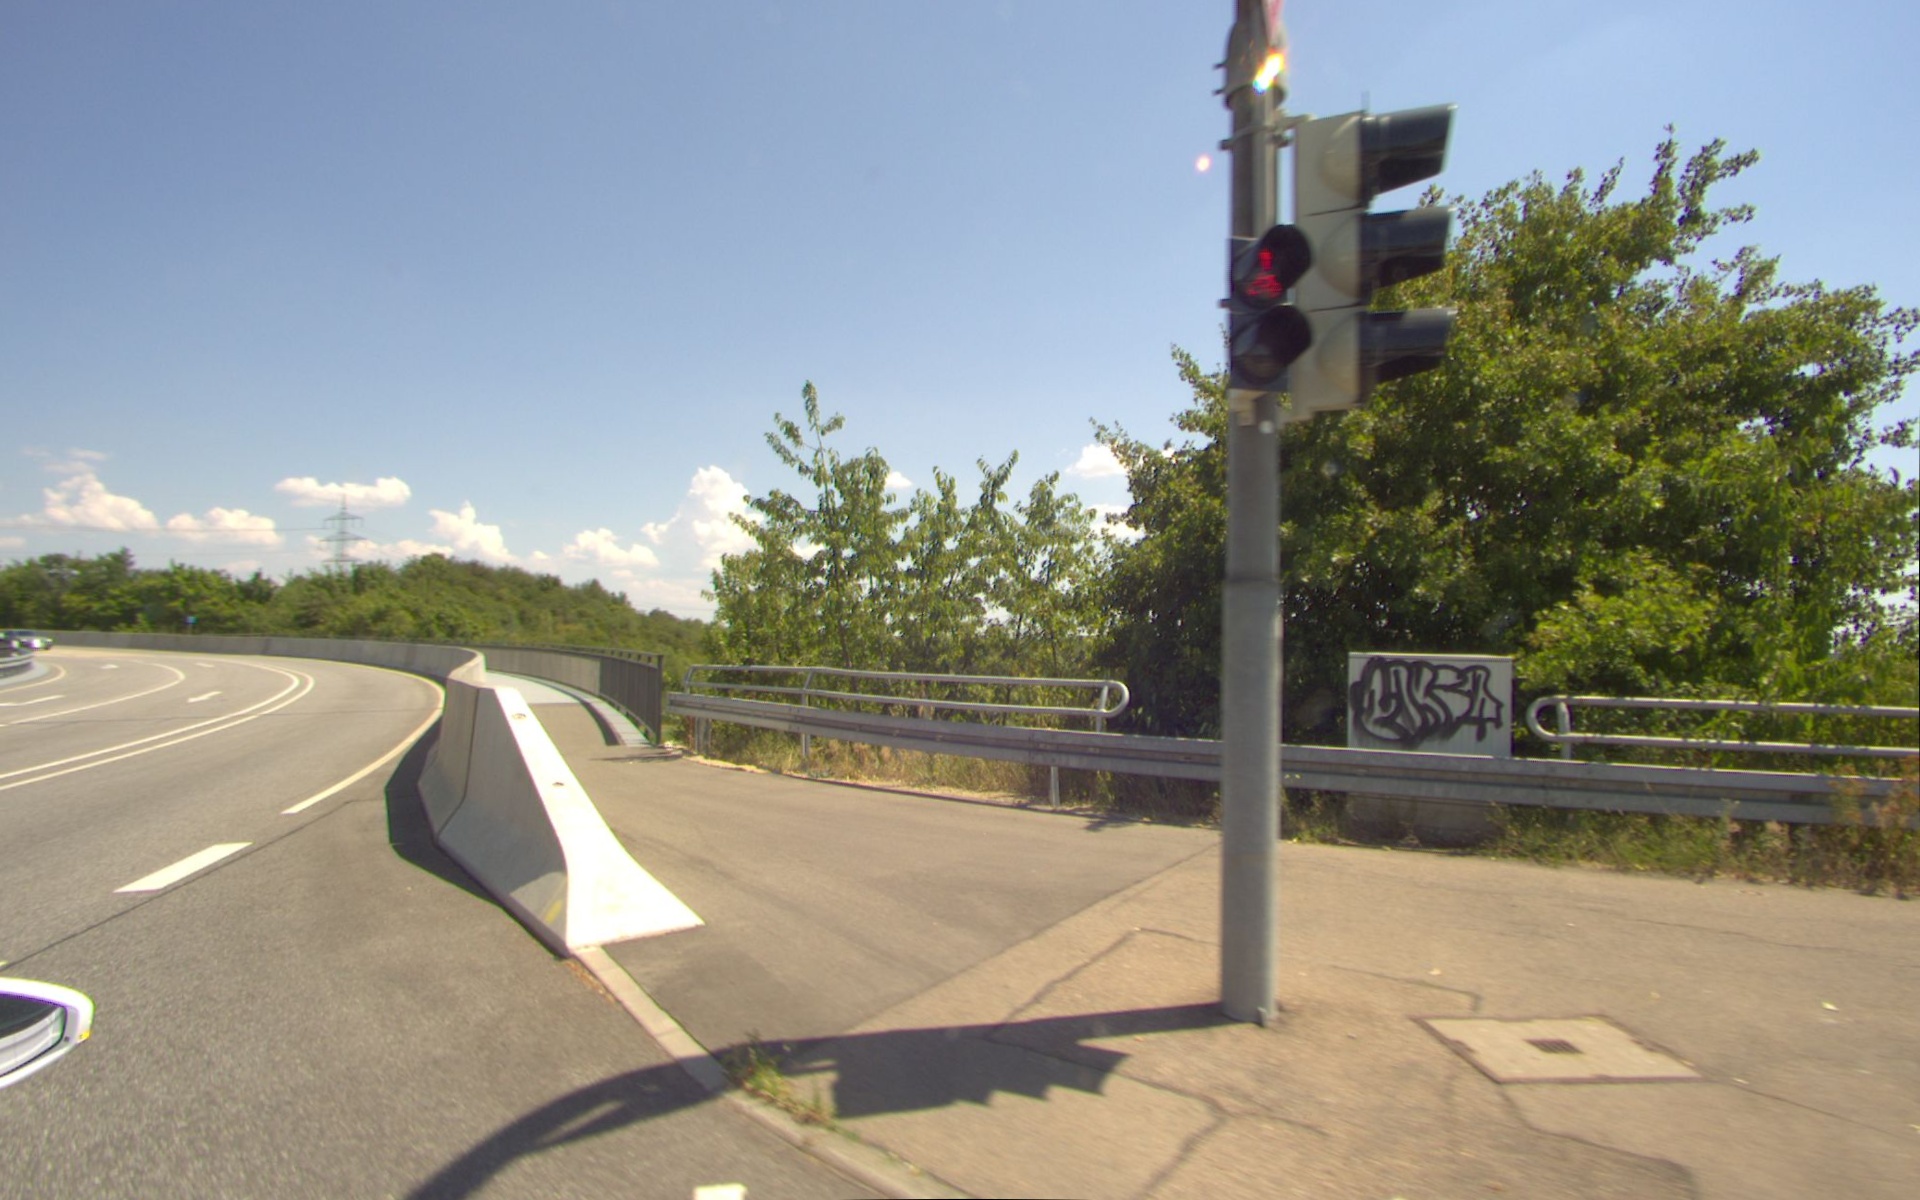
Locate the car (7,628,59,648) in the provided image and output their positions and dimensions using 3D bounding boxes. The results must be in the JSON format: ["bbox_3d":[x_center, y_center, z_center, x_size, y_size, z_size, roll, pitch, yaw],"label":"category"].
[{"bbox_3d":[-66.044,2.676,71.303,4.222,1.402,1.775,-1,-1,34],"label":"car"}]
